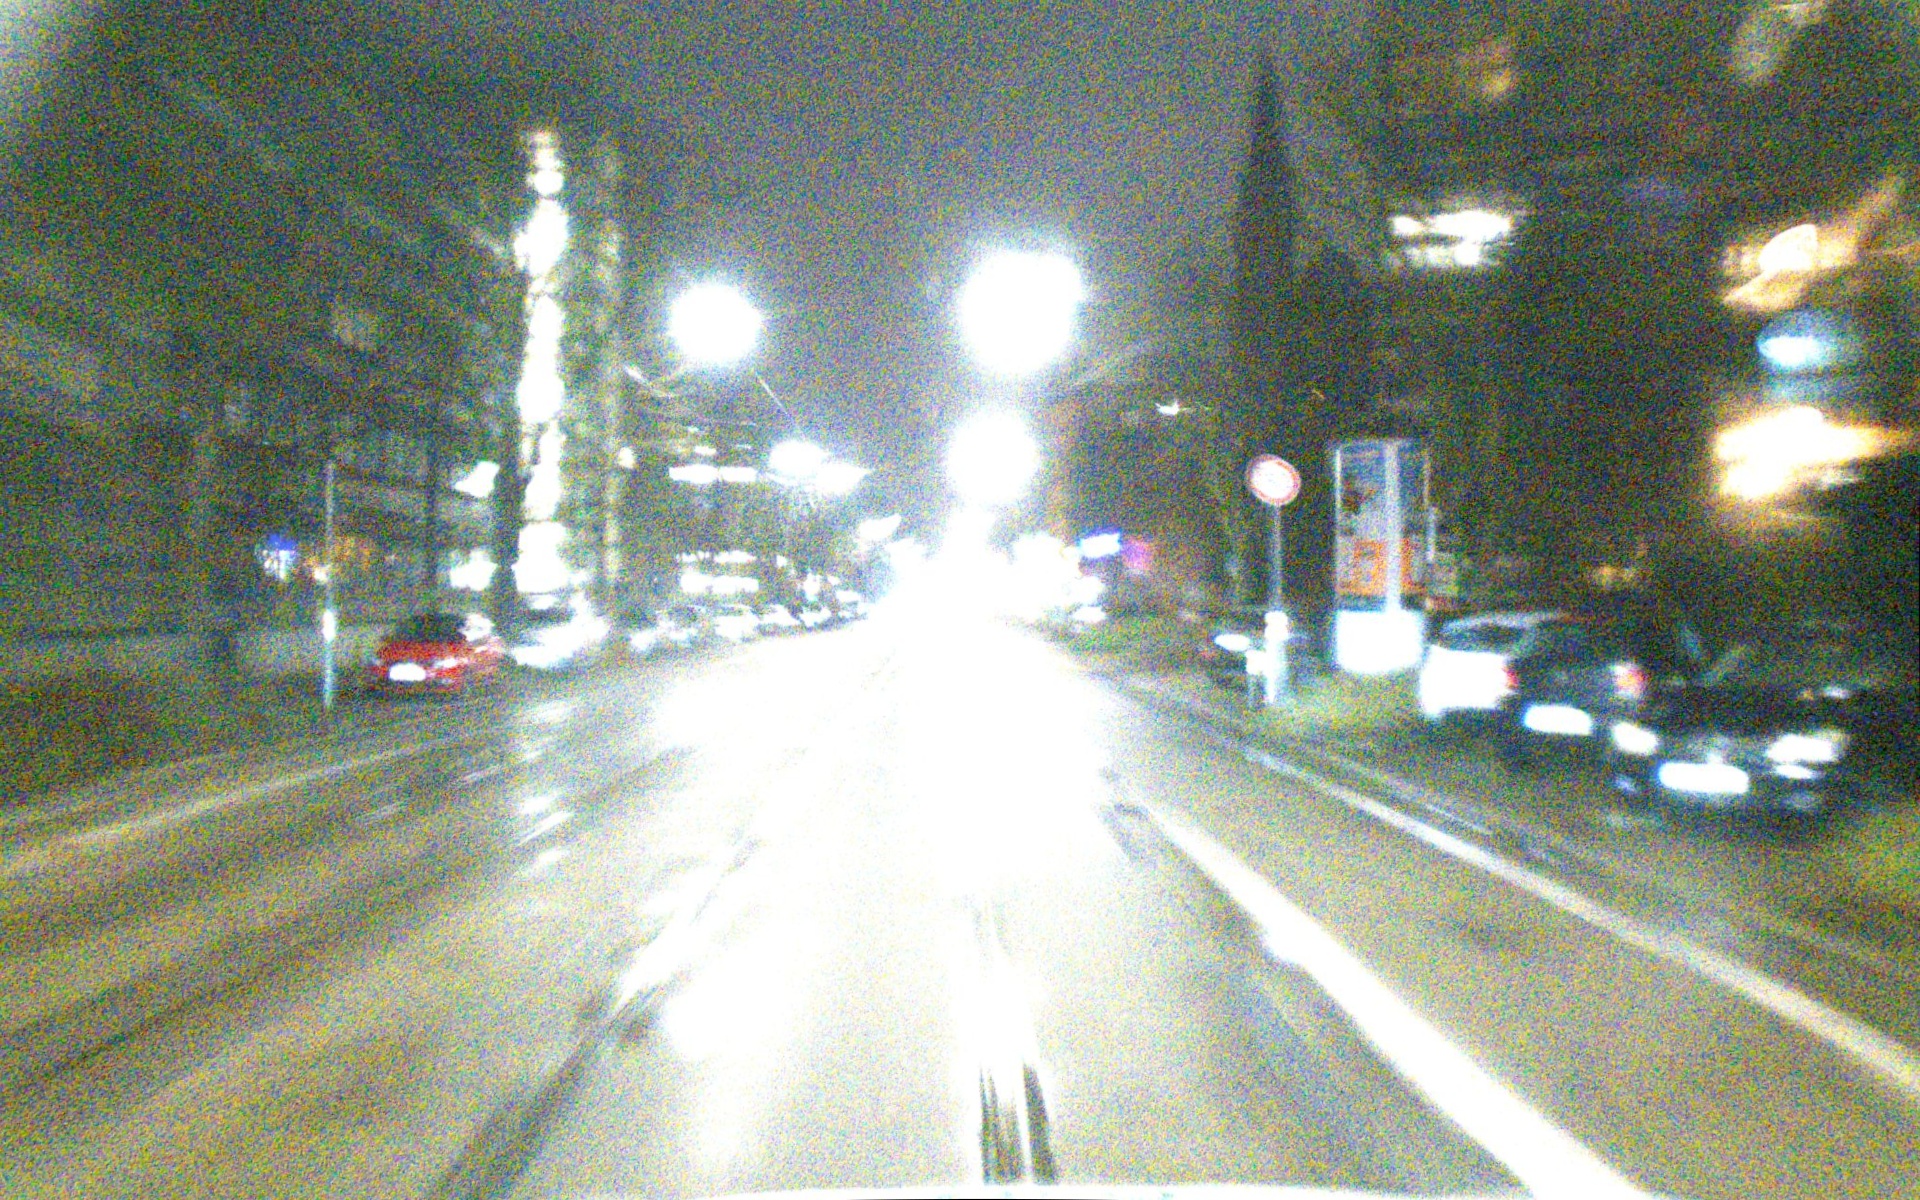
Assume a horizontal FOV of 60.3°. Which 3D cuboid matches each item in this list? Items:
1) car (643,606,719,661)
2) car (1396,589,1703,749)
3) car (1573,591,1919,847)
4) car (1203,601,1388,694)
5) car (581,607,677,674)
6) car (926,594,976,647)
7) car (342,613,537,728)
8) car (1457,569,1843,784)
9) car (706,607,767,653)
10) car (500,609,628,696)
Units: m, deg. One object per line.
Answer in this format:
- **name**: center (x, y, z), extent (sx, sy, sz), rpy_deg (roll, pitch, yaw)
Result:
- **car**: center (-9.705, 1.172, 57.883), extent (1.982, 1.791, 3.999), rpy_deg (3, -1, -1)
- **car**: center (6.854, 0.762, 19.029), extent (1.878, 1.600, 3.935), rpy_deg (2, -1, 43)
- **car**: center (6.312, 0.768, 11.995), extent (1.919, 1.480, 4.217), rpy_deg (2, -1, 45)
- **car**: center (6.412, 0.899, 31.355), extent (1.874, 1.600, 3.944), rpy_deg (2, -1, 38)
- **car**: center (-9.654, 1.168, 48.526), extent (1.982, 1.791, 3.999), rpy_deg (3, -1, -1)
- **car**: center (-0.478, 0.972, 80.446), extent (2.172, 2.484, 5.381), rpy_deg (1, 0, -2)
- **car**: center (-9.176, 1.192, 29.630), extent (2.066, 1.795, 4.962), rpy_deg (3, -1, -3)
- **car**: center (6.648, 0.675, 15.695), extent (1.996, 1.728, 4.219), rpy_deg (2, -1, 43)
- **car**: center (-9.325, 1.249, 69.216), extent (1.982, 1.791, 3.999), rpy_deg (3, -1, -1)
- **car**: center (-9.048, 1.188, 38.124), extent (1.959, 1.816, 3.999), rpy_deg (3, -1, -1)
